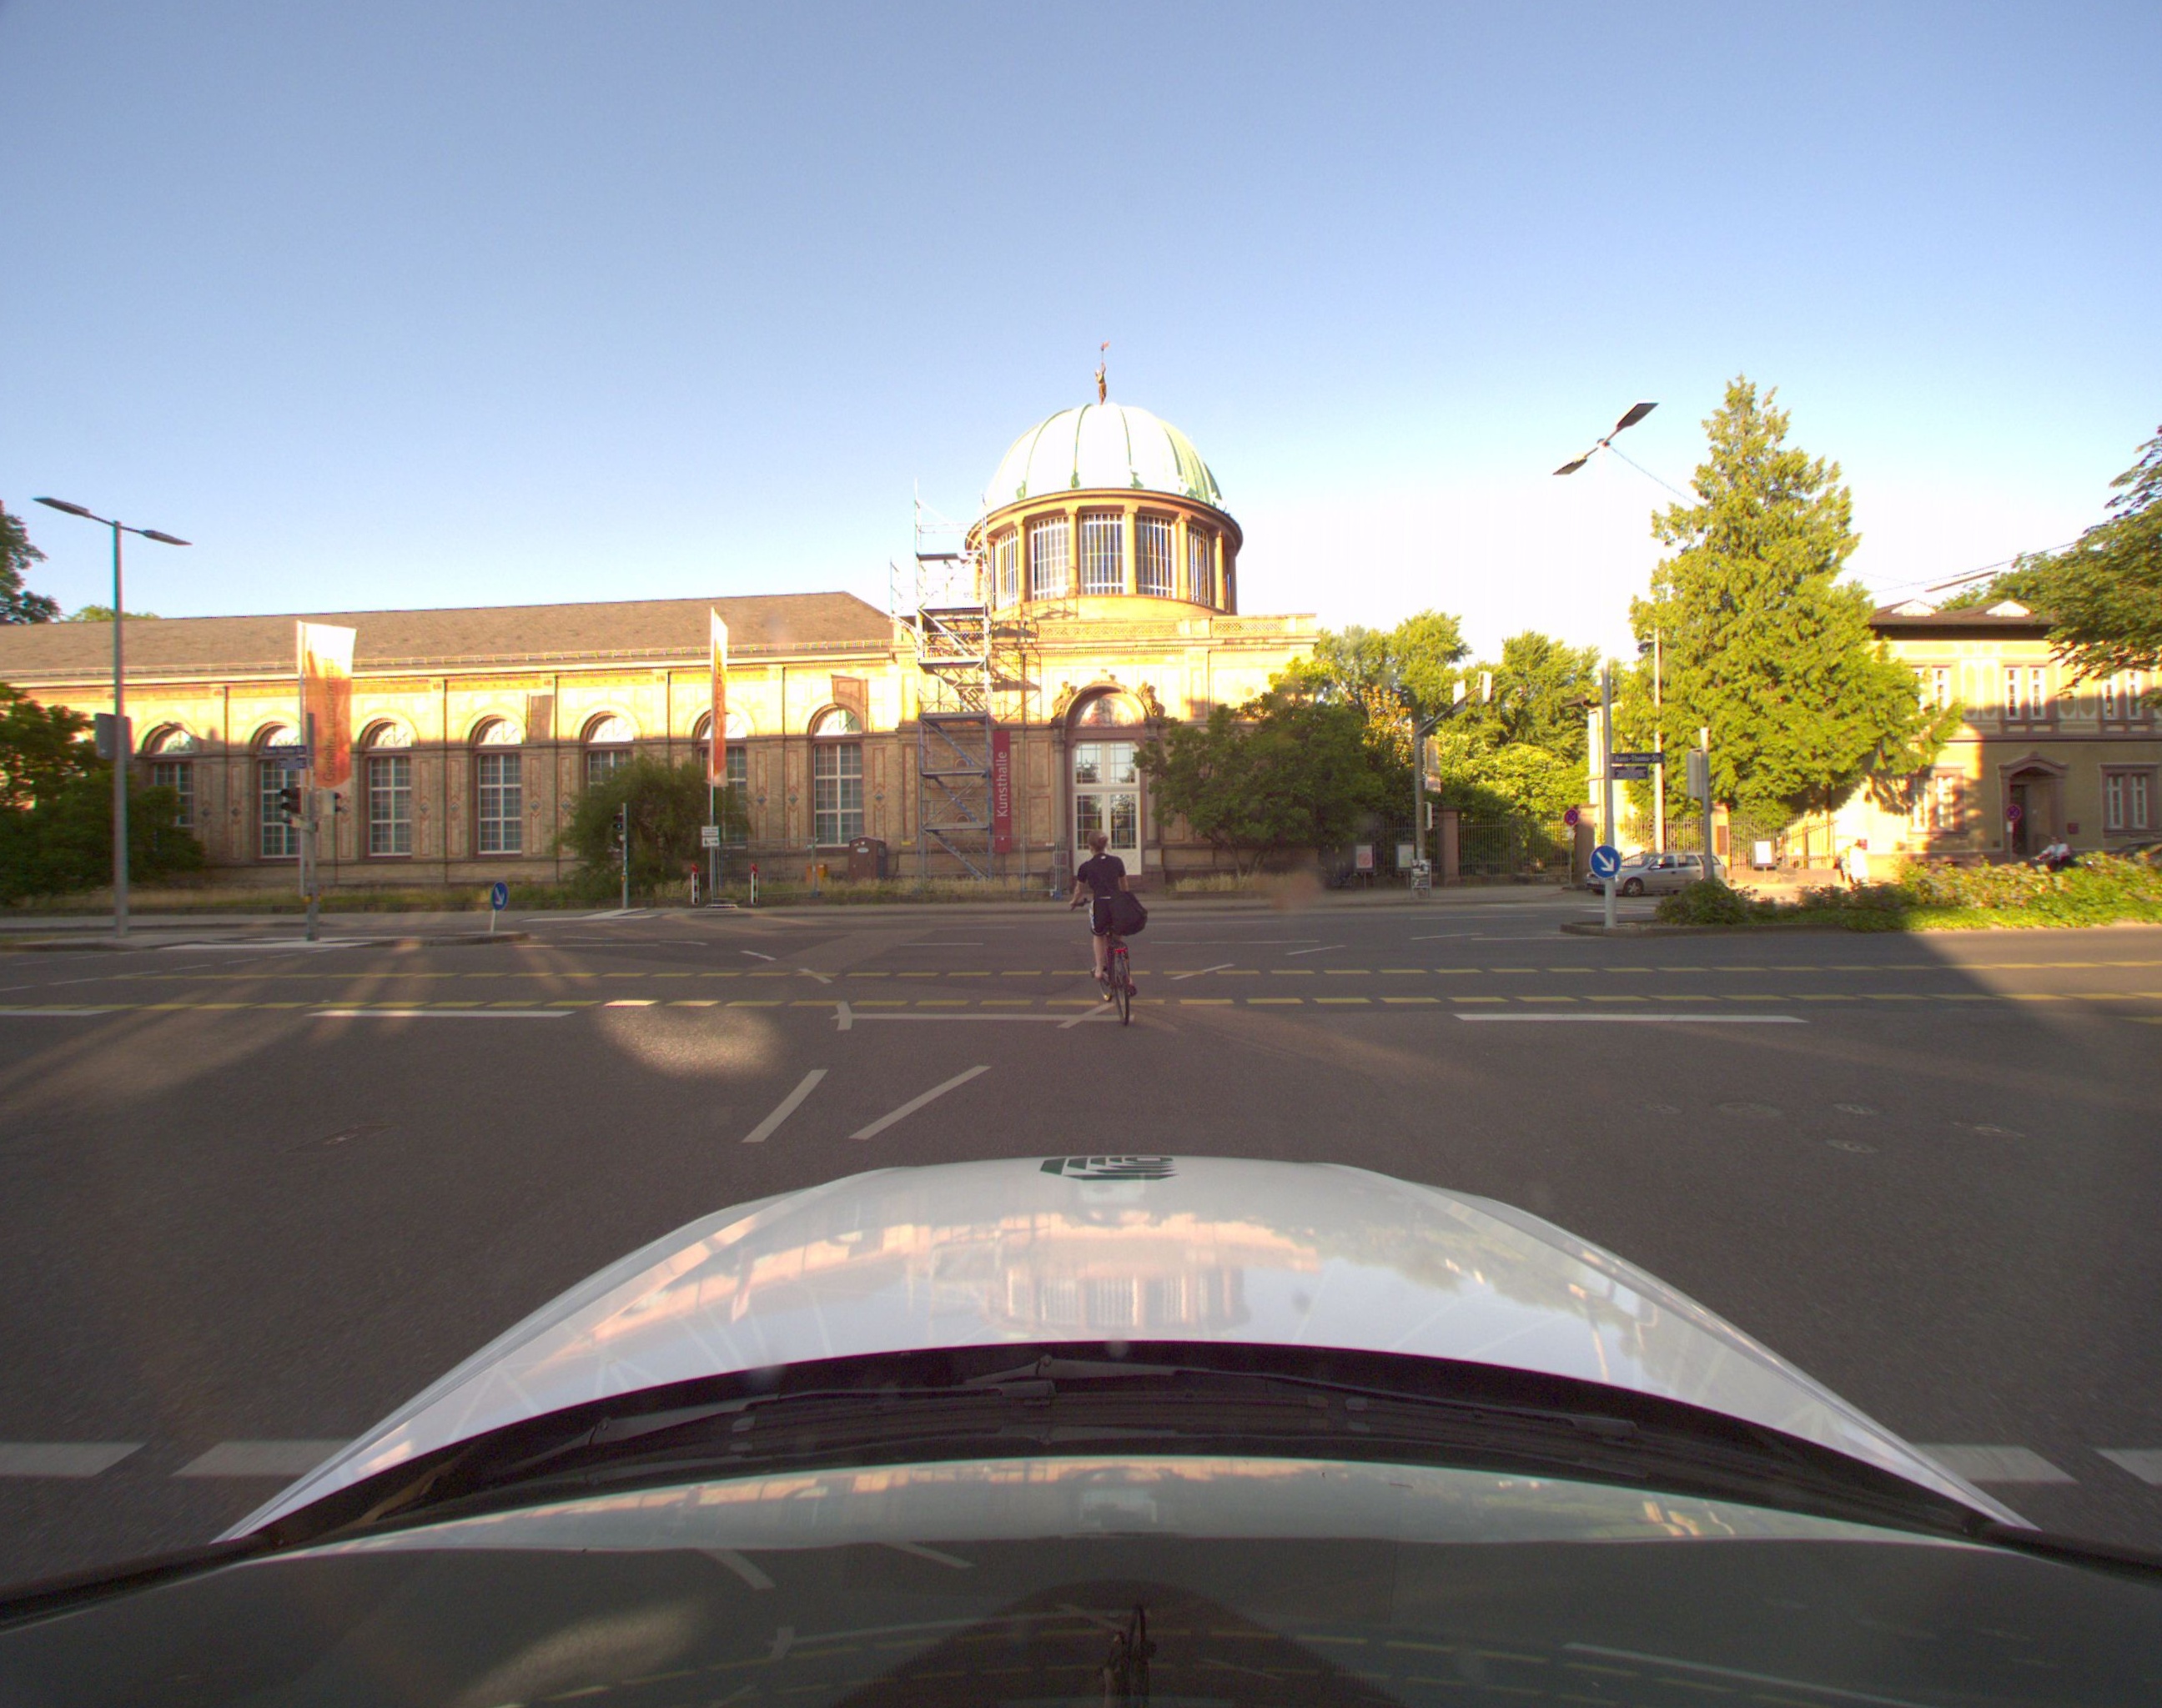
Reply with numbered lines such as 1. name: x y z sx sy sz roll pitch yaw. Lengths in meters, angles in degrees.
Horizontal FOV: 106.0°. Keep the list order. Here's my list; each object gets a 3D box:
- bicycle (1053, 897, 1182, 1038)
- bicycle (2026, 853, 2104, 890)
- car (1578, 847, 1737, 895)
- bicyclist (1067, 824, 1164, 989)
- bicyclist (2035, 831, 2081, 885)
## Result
1. bicycle: 0.287 1.021 8.044 0.712 1.156 2.059 0 -2 -14
2. bicycle: 30.496 0.552 25.252 1.655 1.101 0.496 -2 -2 3
3. car: 19.173 0.554 27.164 4.176 1.445 1.713 -1 0 -4
4. bicyclist: 0.316 0.490 7.930 0.717 1.503 0.846 0 -2 -13
5. bicyclist: 30.264 0.143 25.233 0.516 1.644 0.667 -2 -2 3
